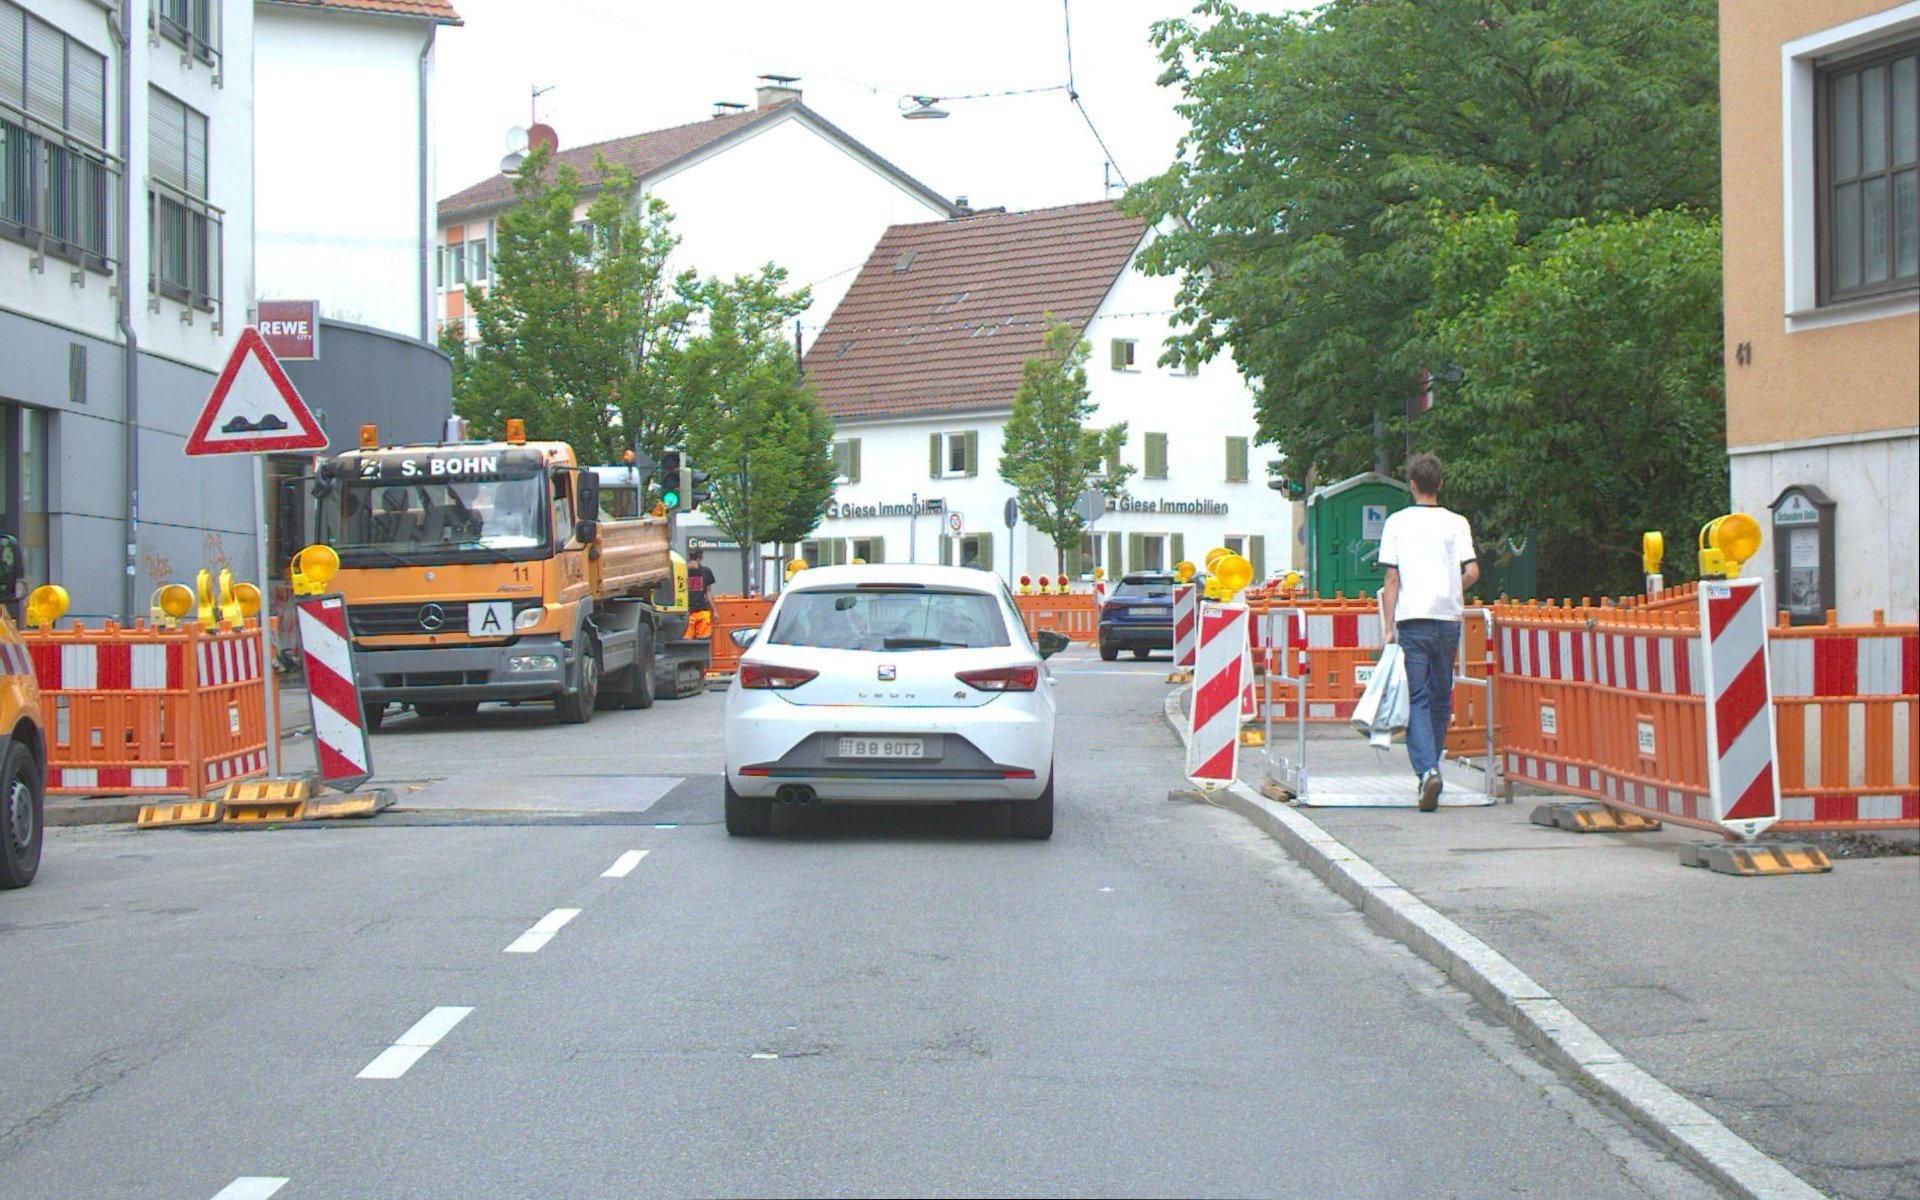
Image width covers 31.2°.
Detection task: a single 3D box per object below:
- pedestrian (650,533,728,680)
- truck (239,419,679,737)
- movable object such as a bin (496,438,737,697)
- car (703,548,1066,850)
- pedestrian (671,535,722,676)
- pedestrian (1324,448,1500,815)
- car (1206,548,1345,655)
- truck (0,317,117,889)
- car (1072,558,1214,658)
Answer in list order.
[{"bbox_3d":[-3.371,0.079,42.822,0.814,1.809,0.743,0,0,7],"label":"pedestrian"},{"bbox_3d":[-4.616,-0.252,33.146,2.732,2.715,6.847,-1,1,4],"label":"truck"},{"bbox_3d":[-3.827,-0.330,39.073,1.839,2.754,4.504,-1,-1,6],"label":"movable object such as a bin"},{"bbox_3d":[-0.354,0.466,19.156,1.811,1.475,3.870,0,1,1],"label":"car"},{"bbox_3d":[-3.277,0.070,42.790,0.537,1.738,0.443,-1,0,8],"label":"pedestrian"},{"bbox_3d":[2.459,0.161,18.787,0.798,1.943,0.836,-1,1,-1],"label":"pedestrian"},{"bbox_3d":[6.125,0.016,66.372,1.995,2.007,3.997,0,0,16],"label":"car"},{"bbox_3d":[-5.346,0.057,13.498,2.413,2.457,6.308,-1,1,1],"label":"truck"},{"bbox_3d":[2.957,0.102,54.807,1.812,1.475,3.869,-1,1,9],"label":"car"}]
